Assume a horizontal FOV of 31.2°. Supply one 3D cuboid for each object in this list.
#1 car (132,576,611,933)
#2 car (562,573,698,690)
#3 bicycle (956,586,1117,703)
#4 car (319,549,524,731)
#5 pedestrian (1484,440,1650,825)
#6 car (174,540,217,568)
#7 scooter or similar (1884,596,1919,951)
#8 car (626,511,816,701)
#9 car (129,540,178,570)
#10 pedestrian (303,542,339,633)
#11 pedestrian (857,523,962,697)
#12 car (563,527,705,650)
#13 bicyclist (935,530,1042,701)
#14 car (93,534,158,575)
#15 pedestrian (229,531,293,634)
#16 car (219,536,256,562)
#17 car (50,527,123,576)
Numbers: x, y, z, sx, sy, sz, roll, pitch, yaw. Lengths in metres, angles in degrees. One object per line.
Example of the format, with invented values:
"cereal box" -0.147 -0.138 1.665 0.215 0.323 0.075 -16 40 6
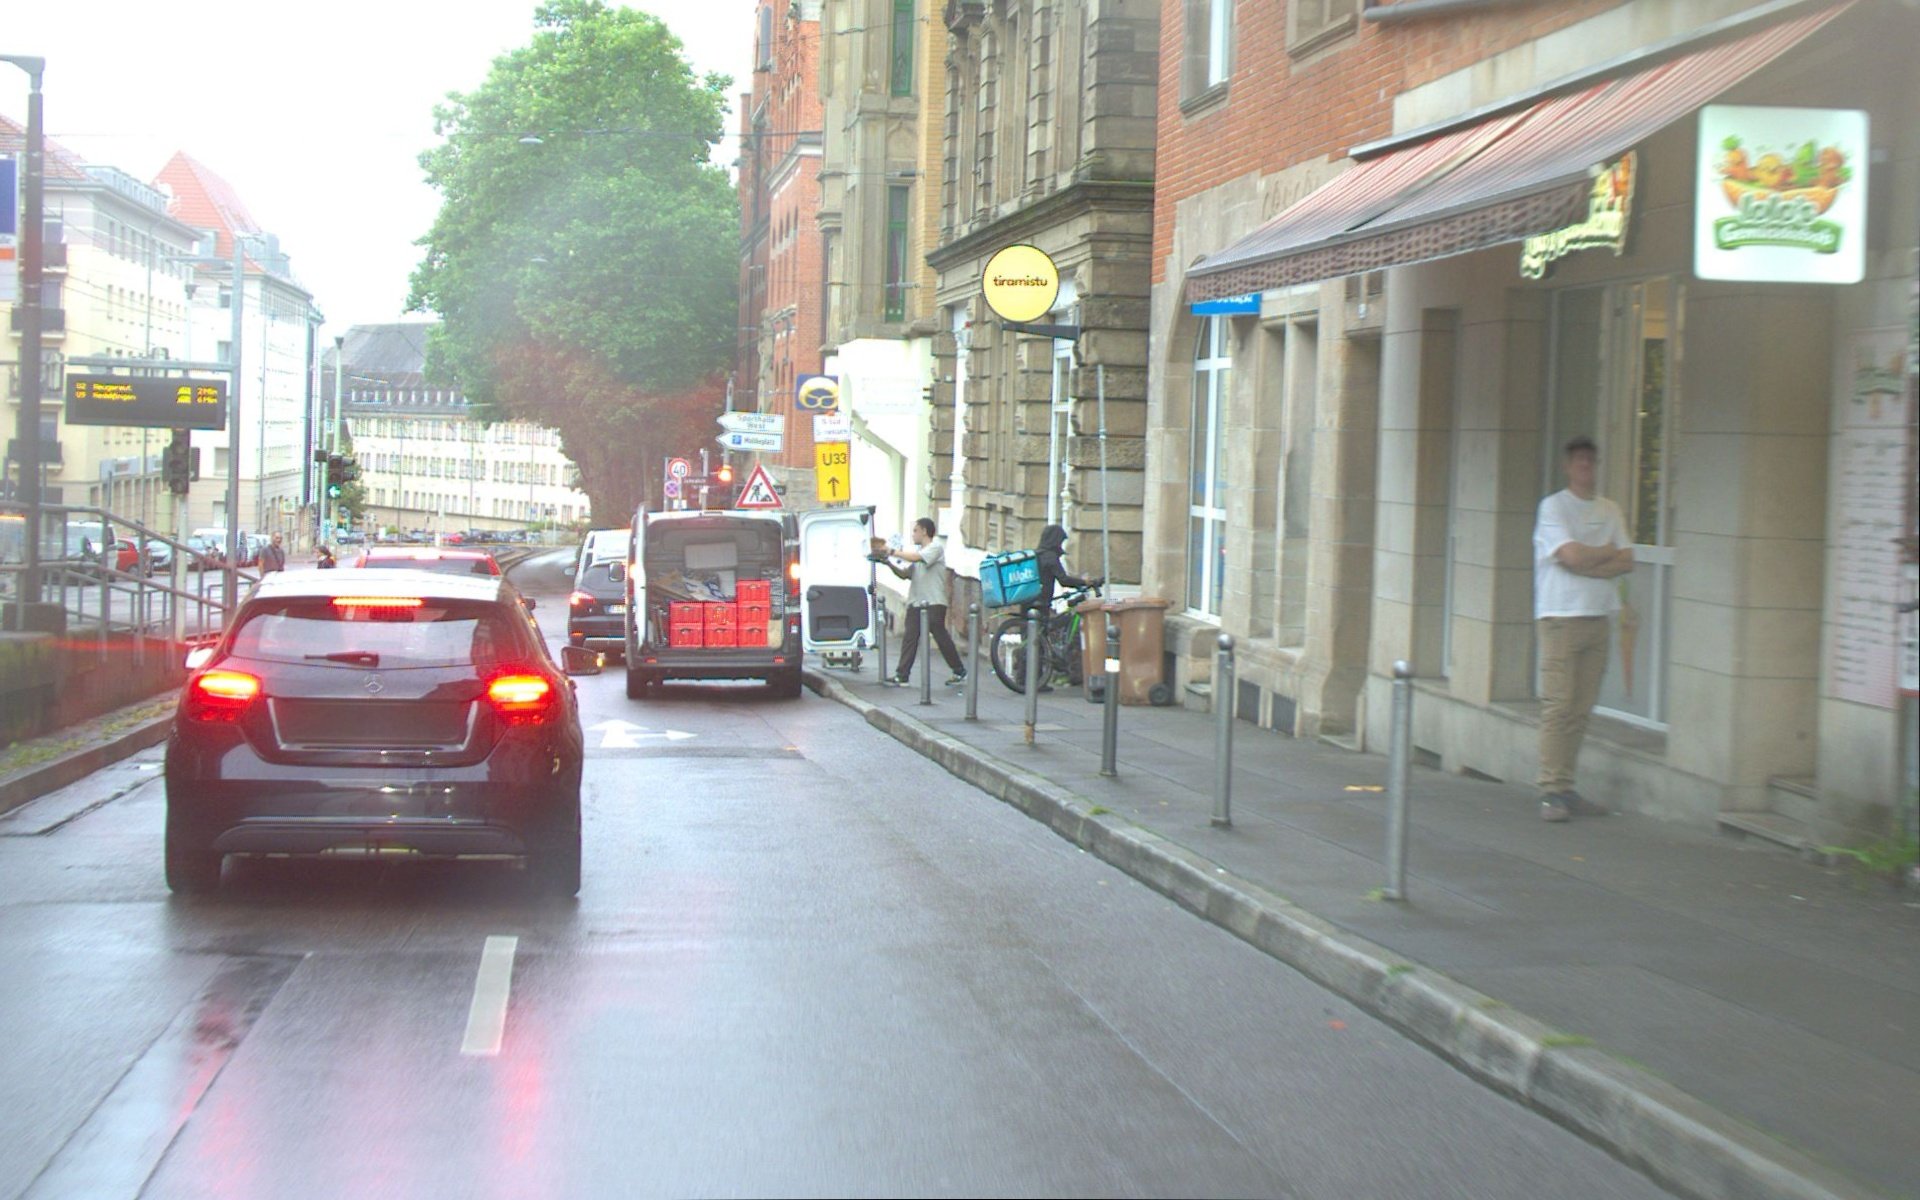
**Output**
"car" -2.606 0.624 16.070 1.894 1.385 4.001 1 1 -6
"car" -4.532 0.406 47.624 1.713 1.464 4.282 1 1 -4
"bicycle" 0.758 0.424 33.557 1.684 1.111 0.464 -1 1 -40
"car" -4.787 0.316 30.698 1.679 1.484 3.614 1 1 -8
"pedestrian" 2.951 0.153 16.738 0.577 1.824 0.564 -2 0 -9
"car" -32.273 -1.948 145.200 1.395 1.167 3.162 1 1 -6
"scooter or similar" 3.468 0.610 11.864 0.257 1.217 1.194 2 1 3
"car" -2.687 0.028 37.891 1.920 1.929 4.686 1 1 -5
"car" -30.828 -1.731 131.451 1.436 1.103 3.162 1 1 -6
"pedestrian" -10.897 -0.216 58.632 0.531 1.525 0.437 1 1 -14
"pedestrian" -0.511 0.094 35.042 0.833 1.748 0.687 0 1 -30
"car" -5.250 -0.223 54.927 1.932 1.825 4.282 1 1 -9
"bicyclist" 0.279 0.143 33.793 0.847 1.651 0.631 0 1 -38
"car" -28.972 -1.588 119.400 1.680 1.351 3.704 1 1 -6
"pedestrian" -11.905 -0.302 58.579 0.740 1.718 0.739 2 1 41
"car" -34.084 -2.426 162.215 1.395 1.167 3.162 1 1 -6
"car" -28.506 -1.610 112.296 1.786 1.525 4.463 1 1 -7
